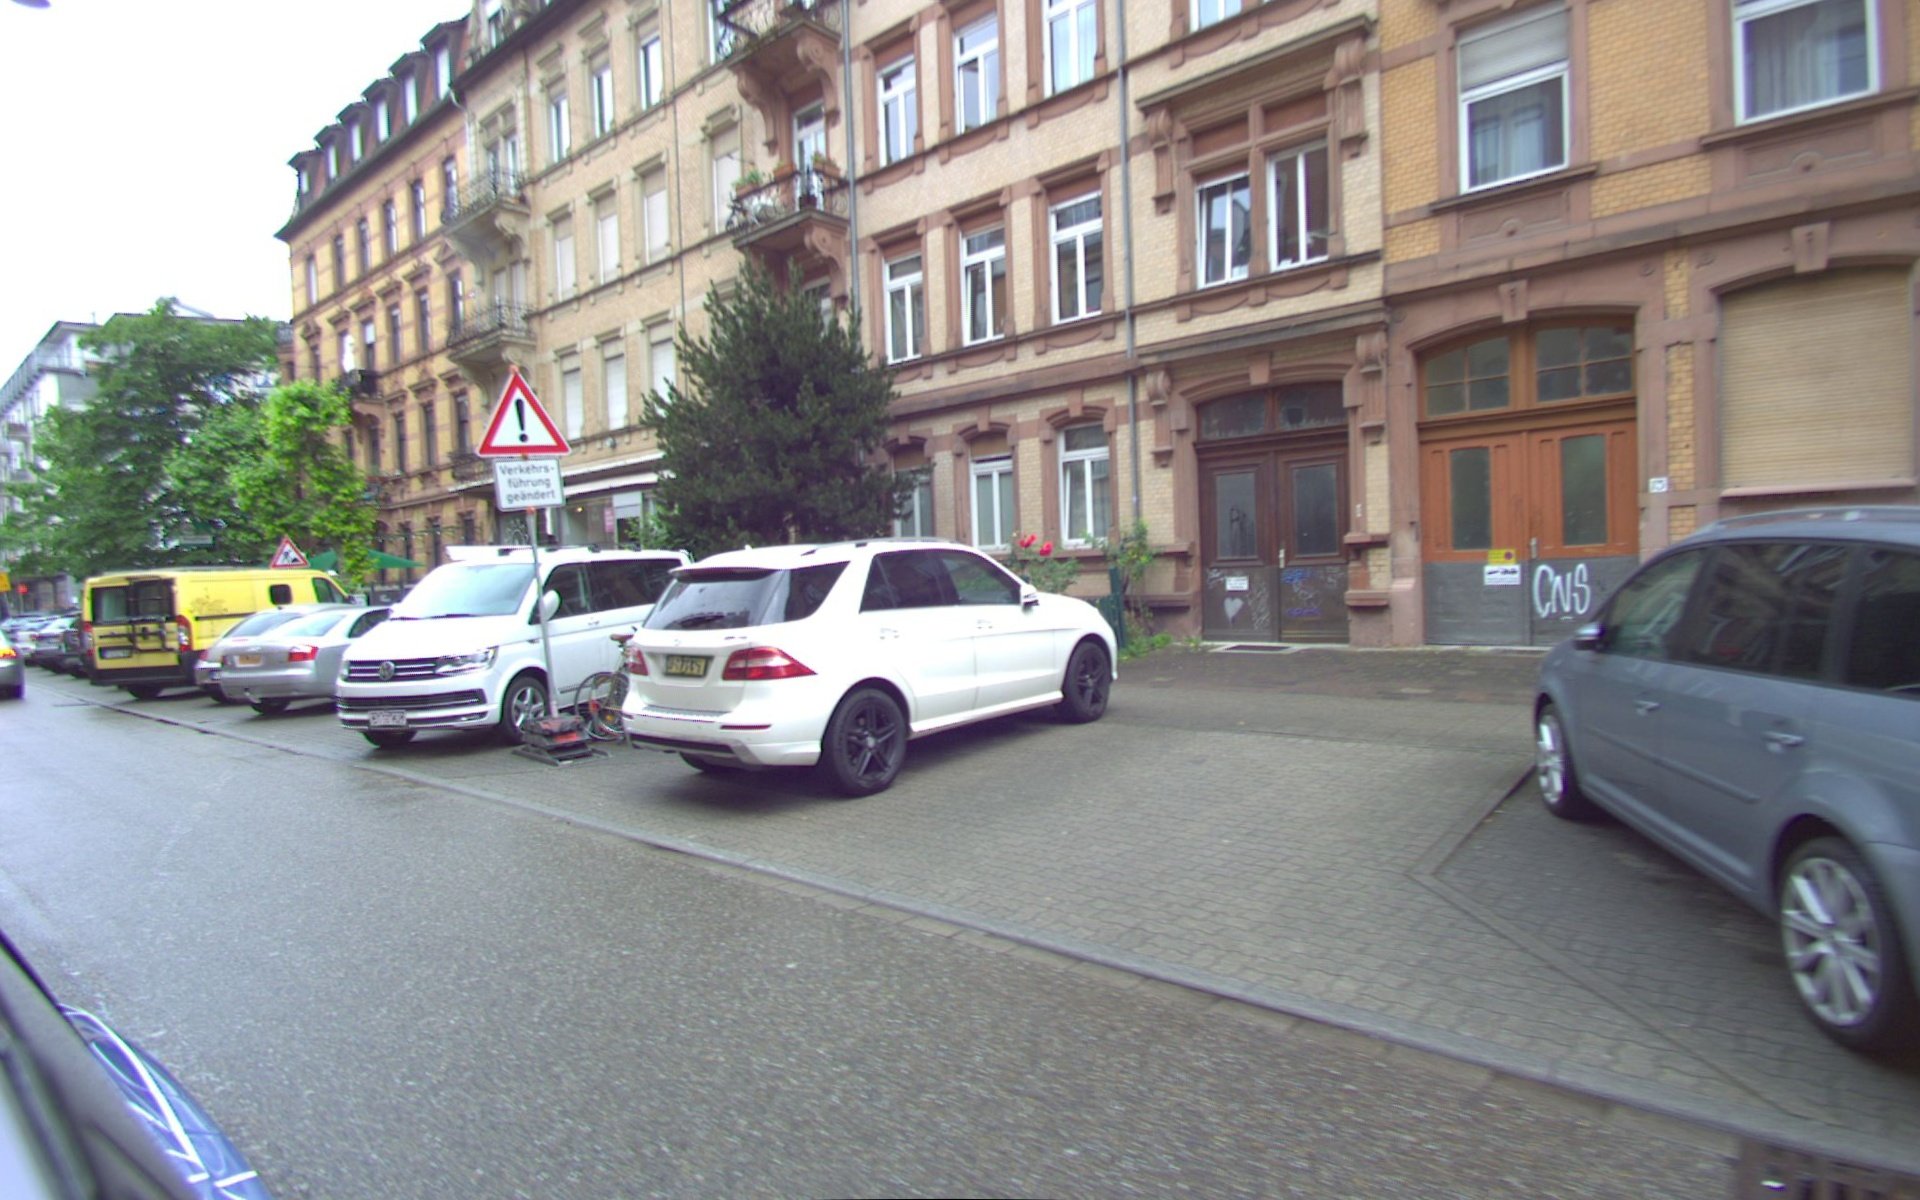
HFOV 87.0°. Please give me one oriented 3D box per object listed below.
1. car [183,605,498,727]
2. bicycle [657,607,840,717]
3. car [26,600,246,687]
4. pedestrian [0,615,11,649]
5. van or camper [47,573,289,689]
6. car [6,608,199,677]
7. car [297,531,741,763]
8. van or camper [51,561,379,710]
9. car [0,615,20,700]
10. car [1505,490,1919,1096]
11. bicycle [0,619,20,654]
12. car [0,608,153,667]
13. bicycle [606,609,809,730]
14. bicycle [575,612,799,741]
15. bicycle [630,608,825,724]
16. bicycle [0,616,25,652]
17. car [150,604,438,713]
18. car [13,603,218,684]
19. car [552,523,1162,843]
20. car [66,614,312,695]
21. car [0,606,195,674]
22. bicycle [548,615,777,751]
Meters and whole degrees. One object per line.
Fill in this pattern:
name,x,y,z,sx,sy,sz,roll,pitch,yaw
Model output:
car,-9.025,0.890,15.198,1.766,1.446,3.986,-2,1,12
bicycle,-2.436,0.714,11.670,2.022,1.183,0.406,-2,1,11
car,-20.050,0.988,24.892,1.778,1.674,4.134,-2,4,4
pedestrian,-53.781,1.793,56.823,0.595,1.862,0.770,-3,1,-41
van or camper,-17.925,0.606,23.200,1.915,2.255,4.075,-1,3,8
car,-24.521,1.159,29.172,1.779,1.504,4.133,-2,4,5
car,-4.684,0.360,11.882,1.853,2.094,5.227,-1,1,16
van or camper,-13.618,0.518,18.987,2.159,2.284,4.717,-3,2,8
car,-19.280,1.142,19.146,4.582,1.505,1.776,-3,0,42
car,3.839,0.390,4.038,1.827,1.642,4.427,-3,3,14
bicycle,-32.772,1.255,34.218,1.665,1.152,0.585,-2,2,13
car,-30.084,1.214,34.124,1.974,1.575,4.454,-1,3,4
bicycle,-2.666,0.735,10.710,2.022,1.183,0.481,-2,1,11
bicycle,-2.739,0.763,10.187,2.105,1.192,0.542,-2,1,11
bicycle,-2.578,0.730,11.244,2.022,1.183,0.542,-2,1,11
bicycle,-32.570,1.163,34.347,1.667,1.152,0.397,-2,2,16
car,-11.096,0.902,17.238,1.941,1.506,3.908,-2,1,10
car,-22.364,1.092,27.047,1.778,1.674,4.134,-2,3,4
car,-0.570,0.383,8.463,2.543,1.798,4.534,-2,3,40
car,-15.945,1.074,21.213,1.806,1.506,3.989,-2,-1,8
car,-26.413,1.159,31.006,1.976,1.574,4.717,-4,3,6
bicycle,-2.818,0.786,9.621,2.022,1.183,0.542,-2,1,11
